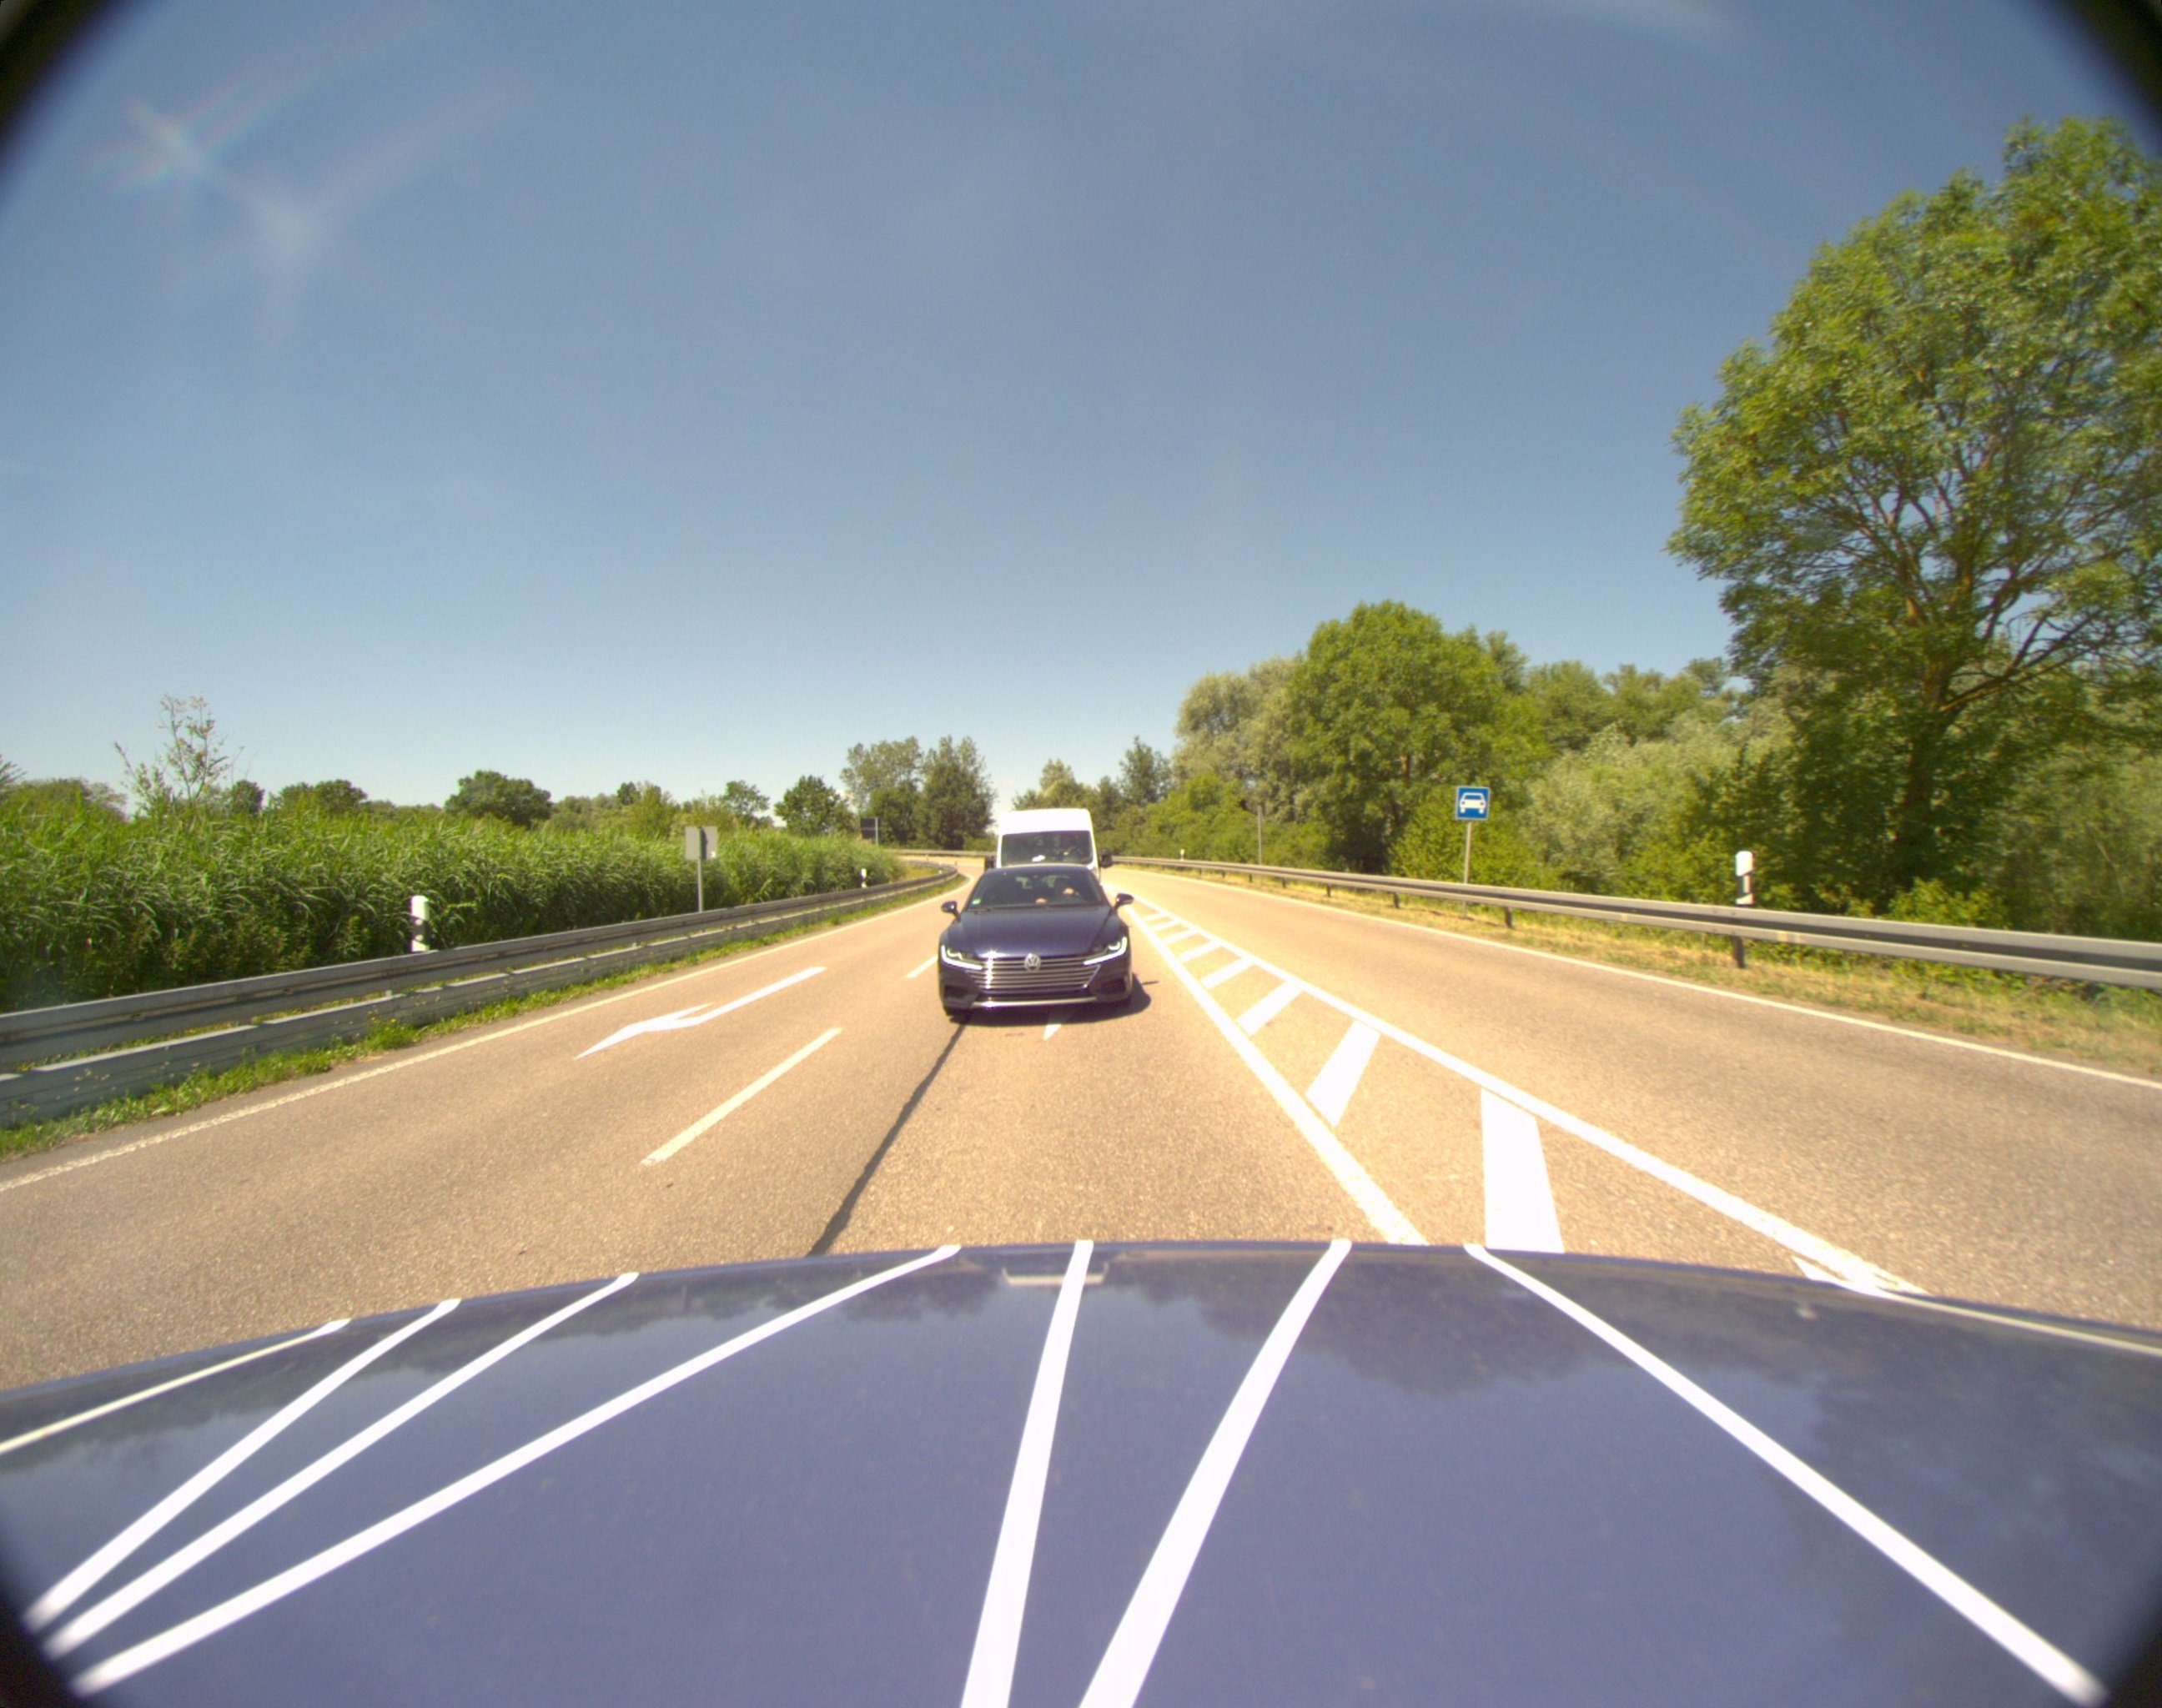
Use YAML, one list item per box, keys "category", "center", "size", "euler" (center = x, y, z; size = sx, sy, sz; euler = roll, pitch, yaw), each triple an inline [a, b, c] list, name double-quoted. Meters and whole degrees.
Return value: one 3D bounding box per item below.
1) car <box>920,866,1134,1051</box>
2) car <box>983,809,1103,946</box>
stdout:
- category: "car"
  center: [-0.441, 0.920, 8.429]
  size: [1.761, 1.401, 3.999]
  euler: [-2, 1, 0]
- category: "car"
  center: [-0.654, 0.392, 16.447]
  size: [2.059, 2.376, 5.826]
  euler: [-2, 1, 0]
